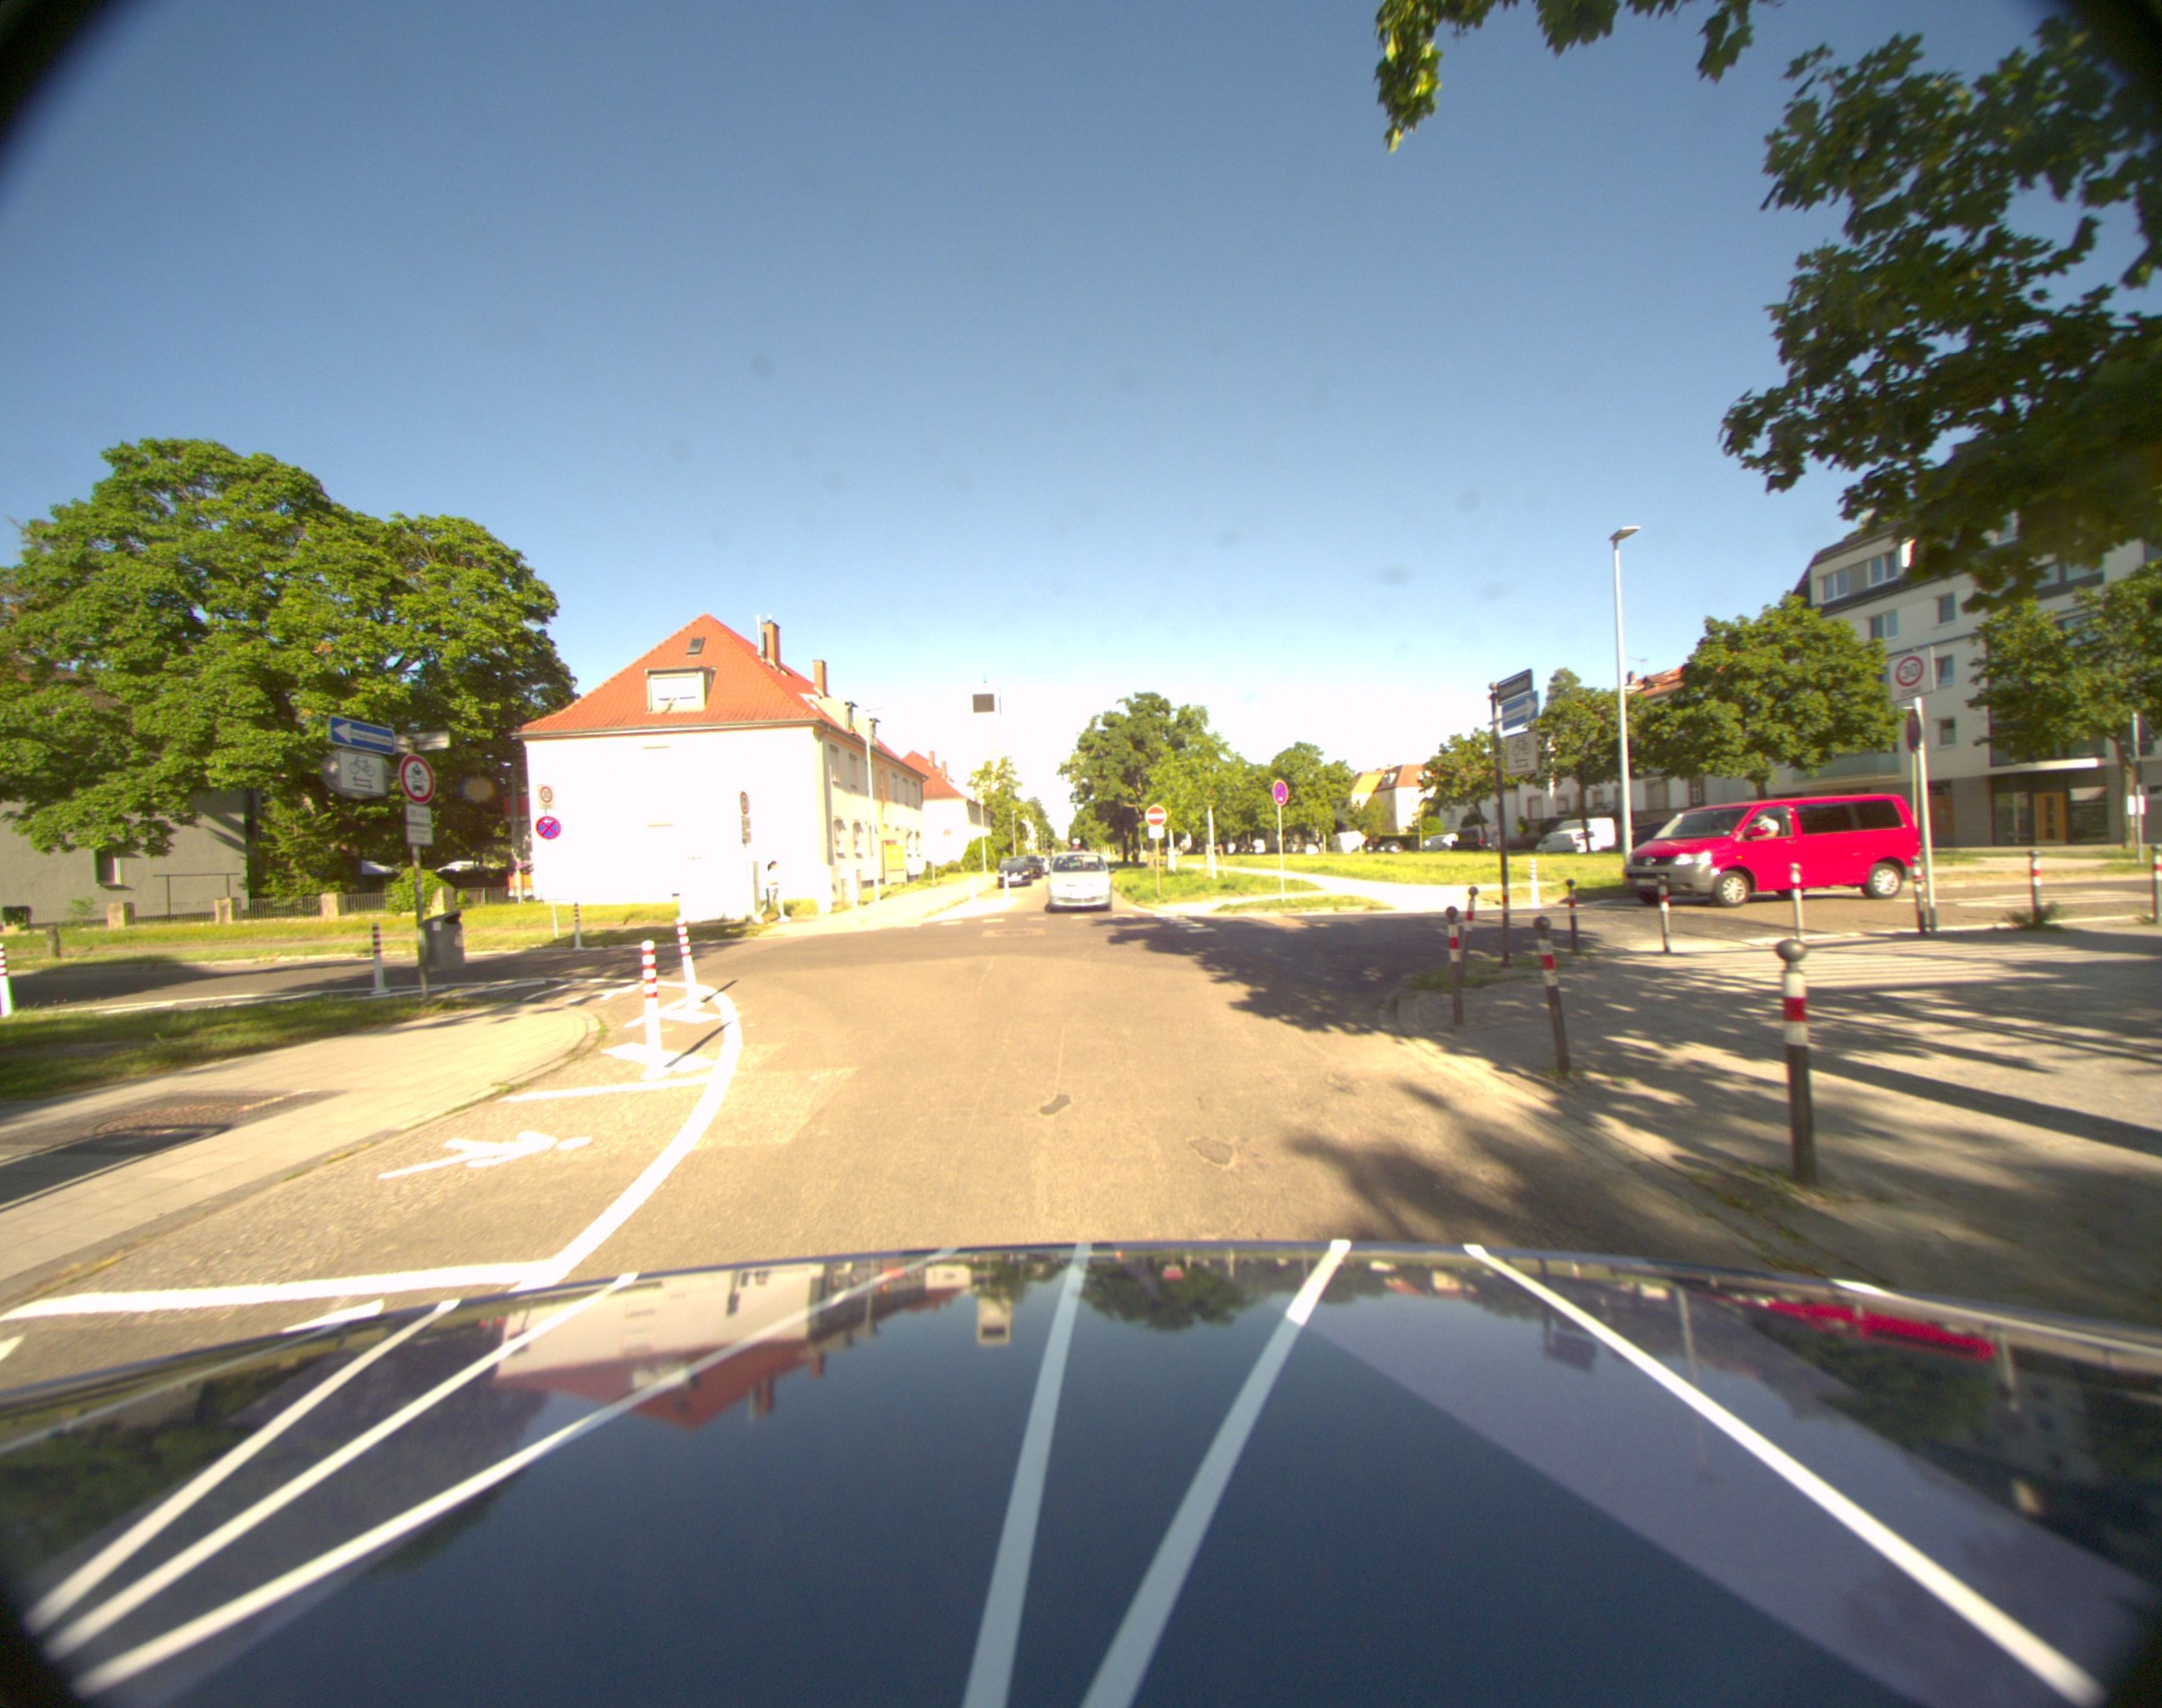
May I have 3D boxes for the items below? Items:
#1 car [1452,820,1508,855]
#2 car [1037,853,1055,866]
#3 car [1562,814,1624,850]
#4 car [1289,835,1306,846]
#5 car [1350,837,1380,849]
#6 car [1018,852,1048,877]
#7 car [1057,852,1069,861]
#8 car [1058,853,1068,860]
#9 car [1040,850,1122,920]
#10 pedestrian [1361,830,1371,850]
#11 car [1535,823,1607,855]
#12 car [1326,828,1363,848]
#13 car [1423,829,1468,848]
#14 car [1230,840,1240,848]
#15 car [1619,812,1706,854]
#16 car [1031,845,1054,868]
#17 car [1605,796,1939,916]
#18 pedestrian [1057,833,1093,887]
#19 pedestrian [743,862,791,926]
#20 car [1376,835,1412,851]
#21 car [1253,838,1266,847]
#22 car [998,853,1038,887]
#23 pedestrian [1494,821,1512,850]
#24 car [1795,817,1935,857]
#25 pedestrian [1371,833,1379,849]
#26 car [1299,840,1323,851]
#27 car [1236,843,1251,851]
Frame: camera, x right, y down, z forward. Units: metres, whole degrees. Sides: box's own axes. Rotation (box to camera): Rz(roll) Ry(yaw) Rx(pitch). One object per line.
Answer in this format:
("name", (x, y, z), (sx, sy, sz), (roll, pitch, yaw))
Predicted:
("car", (33.349, -1.345, 63.635), (2.191, 2.569, 4.288), (-7, 1, 1))
("car", (-3.724, 0.593, 82.350), (1.720, 1.334, 3.808), (-2, 1, 0))
("car", (39.452, -1.665, 58.715), (2.021, 2.534, 3.994), (-4, 1, 1))
("car", (38.483, -2.386, 134.961), (1.864, 1.834, 3.994), (-3, 1, 1))
("car", (33.323, -1.253, 89.293), (1.933, 1.337, 4.109), (-3, 1, 1))
("car", (-3.224, 0.684, 51.892), (1.720, 1.574, 4.140), (-2, 1, 0))
("car", (-2.880, 0.381, 120.964), (1.720, 1.334, 3.808), (-2, 1, 0))
("car", (-3.384, 0.432, 143.926), (1.720, 1.334, 3.808), (-2, 1, 0))
("car", (0.017, 0.728, 20.266), (1.887, 1.599, 4.246), (-2, 1, 0))
("pedestrian", (27.675, -1.373, 73.846), (0.644, 1.866, 0.629), (-3, 1, -1))
("car", (33.389, -0.972, 51.927), (1.875, 1.873, 4.423), (-7, 0, 0))
("car", (33.109, -2.028, 95.636), (2.549, 2.320, 5.919), (-2, 1, 1))
("car", (33.707, -1.419, 70.438), (2.084, 1.589, 4.288), (-2, 1, 1))
("car", (39.486, -2.621, 194.623), (1.864, 1.834, 3.994), (-2, 1, 1))
("car", (33.203, -1.174, 43.548), (1.783, 2.072, 3.994), (-7, 1, 1))
("car", (-3.588, 0.214, 71.495), (1.870, 2.002, 4.255), (-3, 1, 0))
("car", (13.138, 0.023, 14.630), (4.884, 1.949, 1.896), (-3, 1, -4))
("pedestrian", (-0.210, 0.196, 24.798), (1.054, 1.699, 0.693), (-3, 1, -5))
("pedestrian", (-8.287, 1.043, 20.098), (0.833, 1.602, 0.769), (-3, 1, 4))
("car", (33.627, -1.215, 81.648), (2.084, 1.589, 4.288), (-2, 1, 1))
("car", (39.005, -2.437, 166.391), (1.864, 1.834, 3.994), (-3, 1, 1))
("car", (-3.346, 0.815, 41.051), (1.720, 1.654, 4.063), (-2, 1, 0))
("pedestrian", (27.707, -1.192, 49.892), (0.724, 1.866, 0.629), (-2, 1, -1))
("car", (33.449, -0.693, 32.586), (1.739, 1.425, 3.994), (-7, 0, 0))
("pedestrian", (28.454, -1.263, 73.452), (0.496, 1.496, 0.535), (-2, 1, 0))
("car", (33.580, -1.223, 111.224), (2.079, 1.457, 4.727), (-2, 1, 1))
("car", (33.524, -1.423, 156.794), (2.079, 1.457, 4.727), (-2, 1, 1))
